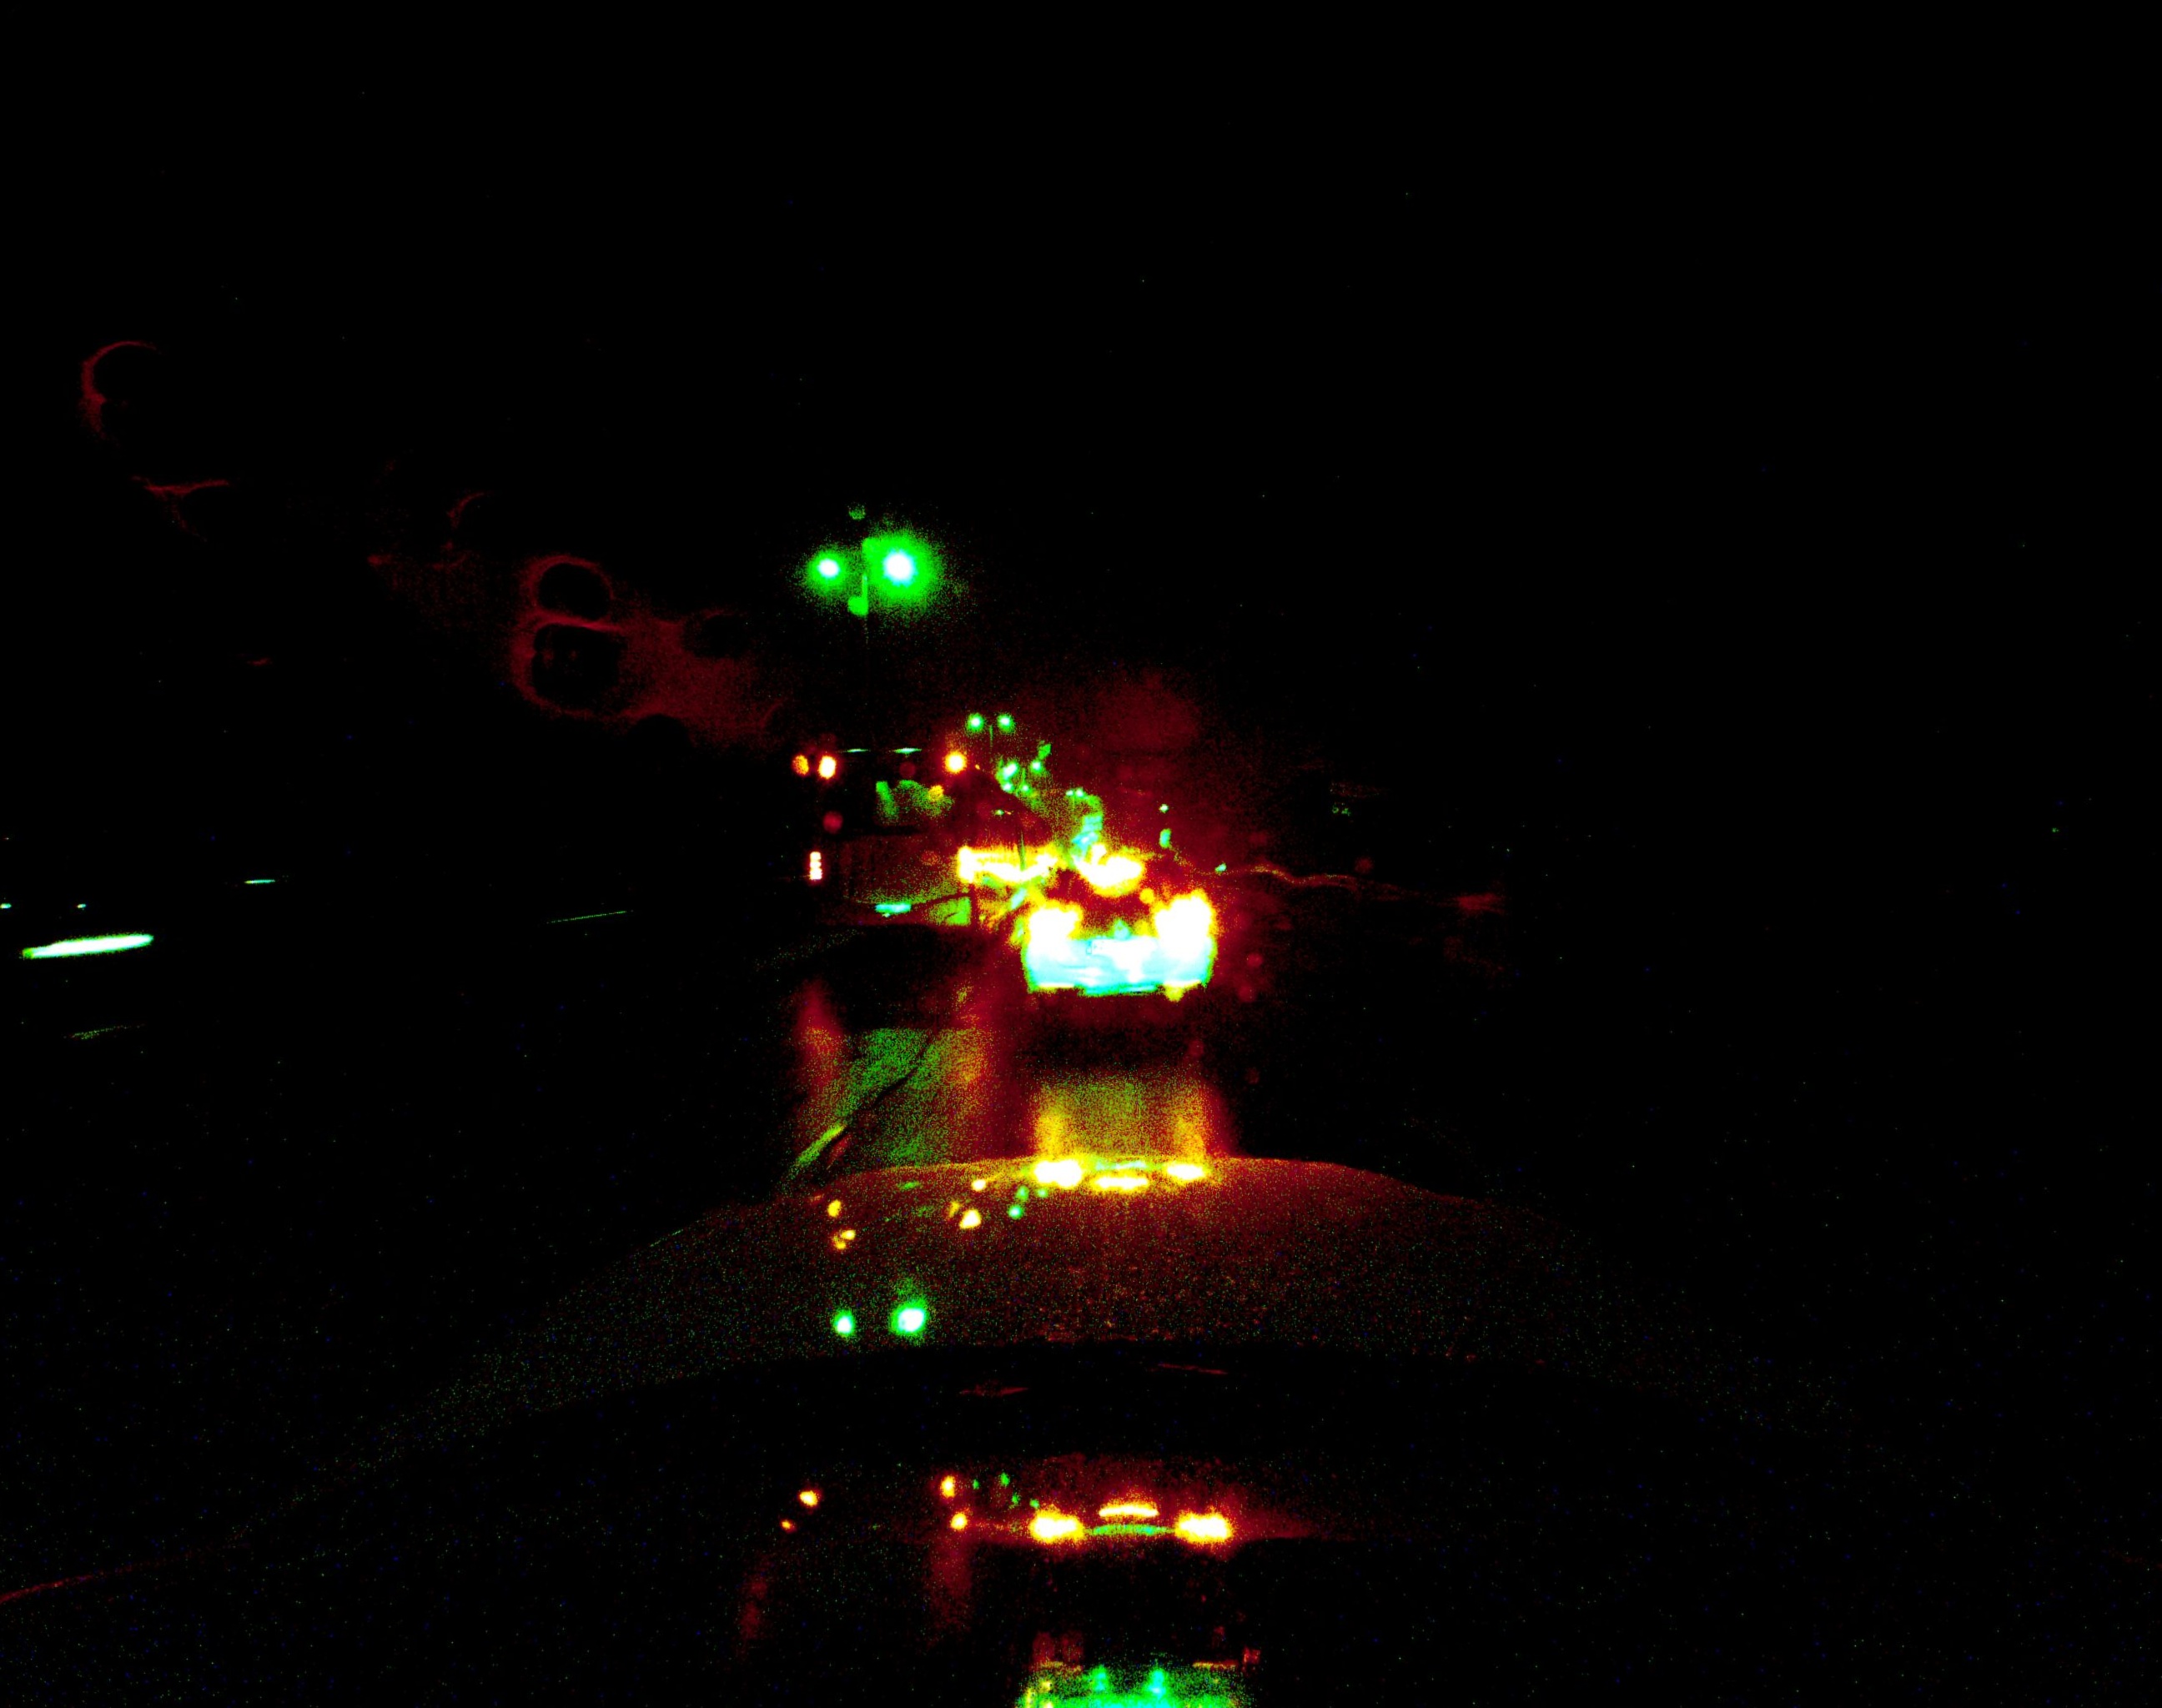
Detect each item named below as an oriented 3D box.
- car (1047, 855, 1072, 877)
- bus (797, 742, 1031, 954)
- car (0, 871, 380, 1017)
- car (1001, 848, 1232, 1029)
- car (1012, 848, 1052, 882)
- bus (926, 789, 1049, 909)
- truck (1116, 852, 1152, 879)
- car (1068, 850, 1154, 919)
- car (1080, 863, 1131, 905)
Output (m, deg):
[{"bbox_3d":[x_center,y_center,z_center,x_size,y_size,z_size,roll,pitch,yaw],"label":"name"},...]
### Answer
[{"bbox_3d":[-1.462,0.850,56.617,1.552,1.487,3.810,1,-1,2],"label":"car"},{"bbox_3d":[-2.752,-0.123,16.659,2.734,3.123,9.202,1,0,1],"label":"bus"},{"bbox_3d":[-13.610,1.189,12.463,1.986,1.809,4.201,1,-1,2],"label":"car"},{"bbox_3d":[0.255,0.711,8.714,1.939,1.491,3.713,-1,0,-2],"label":"car"},{"bbox_3d":[-2.249,0.522,38.248,1.552,1.487,3.810,1,-1,2],"label":"car"},{"bbox_3d":[-2.615,-0.166,25.635,2.734,3.123,8.704,1,0,1],"label":"bus"},{"bbox_3d":[5.412,1.170,81.723,3.053,2.528,7.181,0,-1,8],"label":"truck"},{"bbox_3d":[0.702,0.669,19.347,1.815,1.461,3.717,-1,0,2],"label":"car"},{"bbox_3d":[0.935,1.091,30.905,1.815,1.461,3.717,-1,0,2],"label":"car"}]
